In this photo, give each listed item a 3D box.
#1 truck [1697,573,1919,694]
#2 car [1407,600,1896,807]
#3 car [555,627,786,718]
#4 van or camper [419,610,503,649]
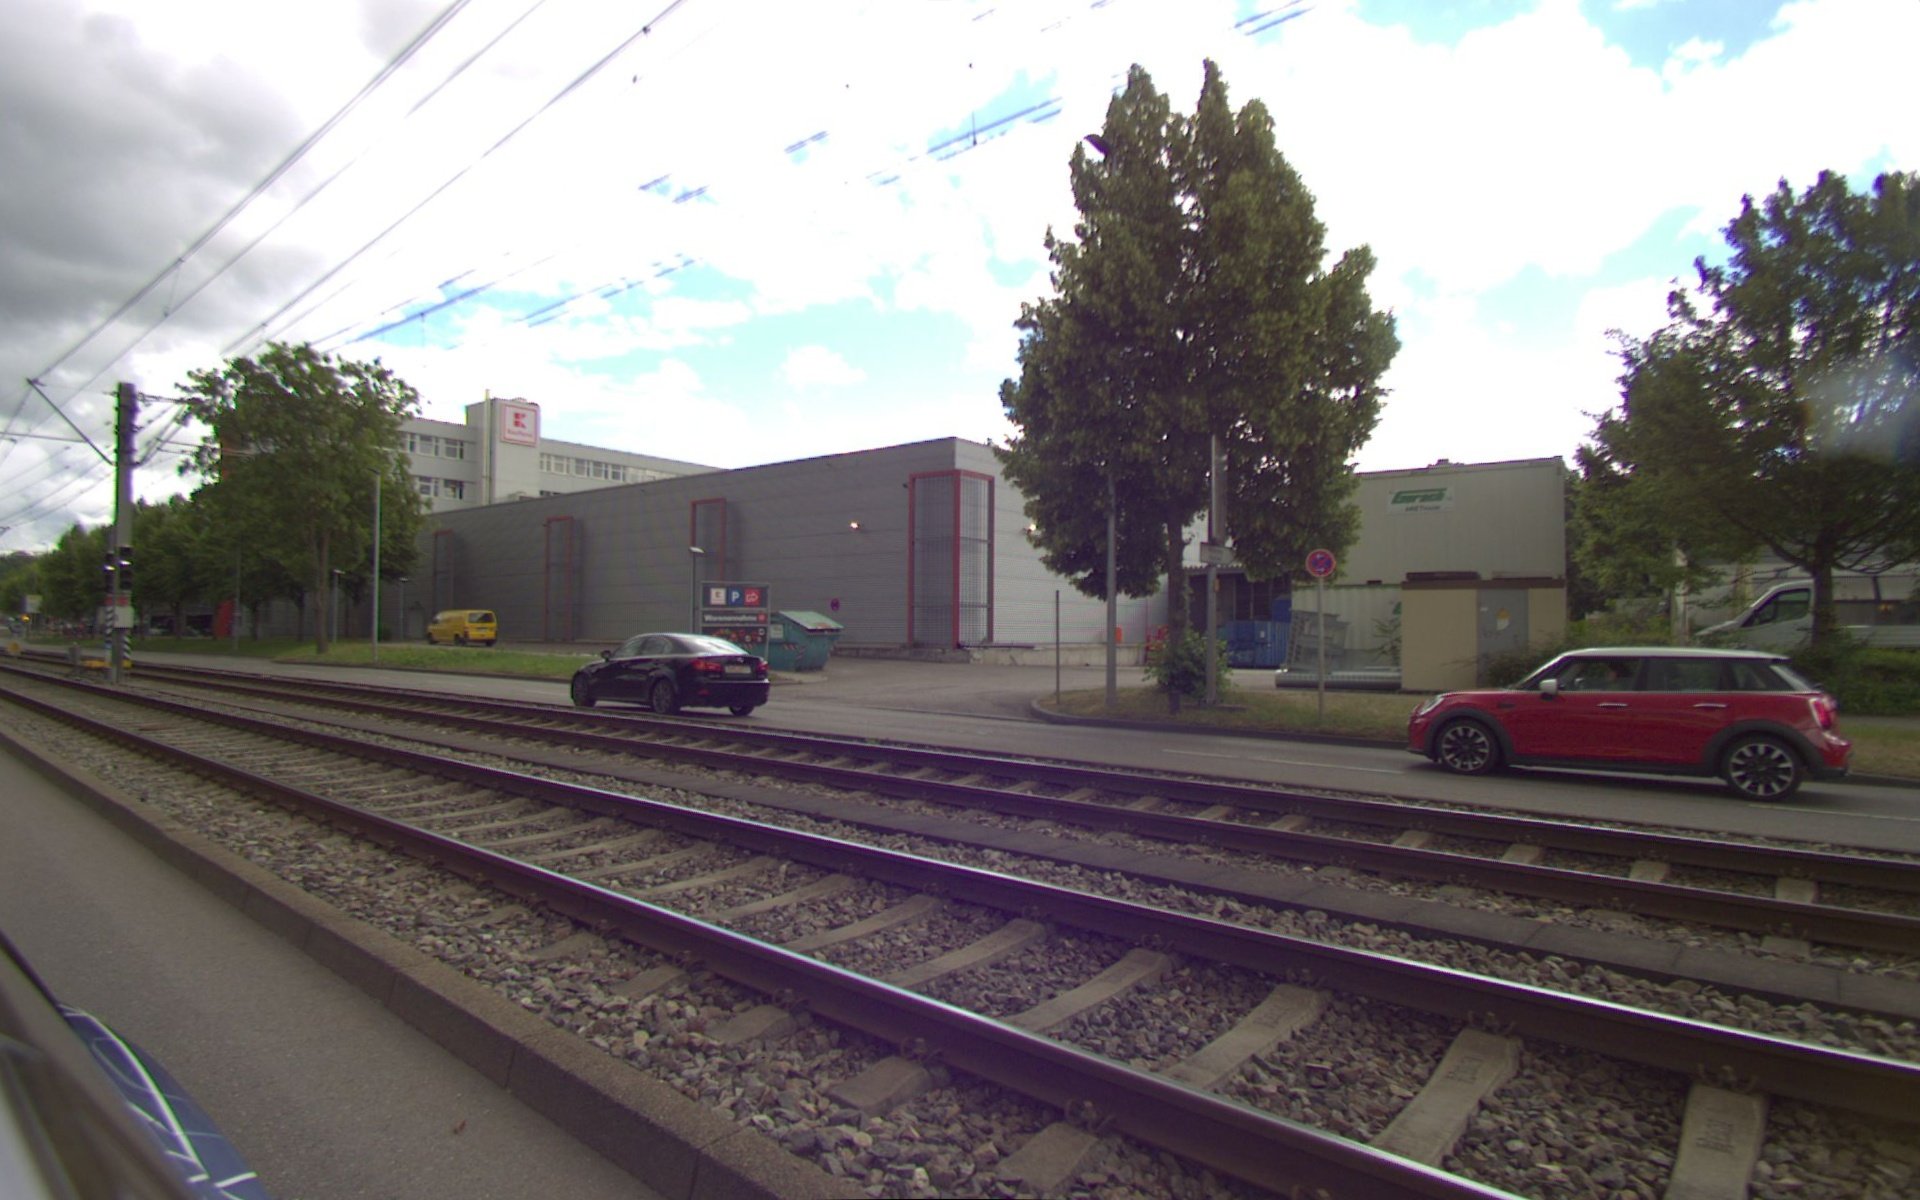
[{"bbox_3d":[18.912,0.714,21.353,5.262,2.401,1.972,-2,-3,42],"label":"truck"},{"bbox_3d":[7.098,0.958,10.726,3.996,1.785,1.774,-2,-2,40],"label":"car"},{"bbox_3d":[-5.202,1.241,17.901,4.440,1.412,1.741,-2,-5,41],"label":"car"},{"bbox_3d":[-27.449,1.616,55.587,5.235,2.029,2.083,-2,-2,38],"label":"van or camper"}]
